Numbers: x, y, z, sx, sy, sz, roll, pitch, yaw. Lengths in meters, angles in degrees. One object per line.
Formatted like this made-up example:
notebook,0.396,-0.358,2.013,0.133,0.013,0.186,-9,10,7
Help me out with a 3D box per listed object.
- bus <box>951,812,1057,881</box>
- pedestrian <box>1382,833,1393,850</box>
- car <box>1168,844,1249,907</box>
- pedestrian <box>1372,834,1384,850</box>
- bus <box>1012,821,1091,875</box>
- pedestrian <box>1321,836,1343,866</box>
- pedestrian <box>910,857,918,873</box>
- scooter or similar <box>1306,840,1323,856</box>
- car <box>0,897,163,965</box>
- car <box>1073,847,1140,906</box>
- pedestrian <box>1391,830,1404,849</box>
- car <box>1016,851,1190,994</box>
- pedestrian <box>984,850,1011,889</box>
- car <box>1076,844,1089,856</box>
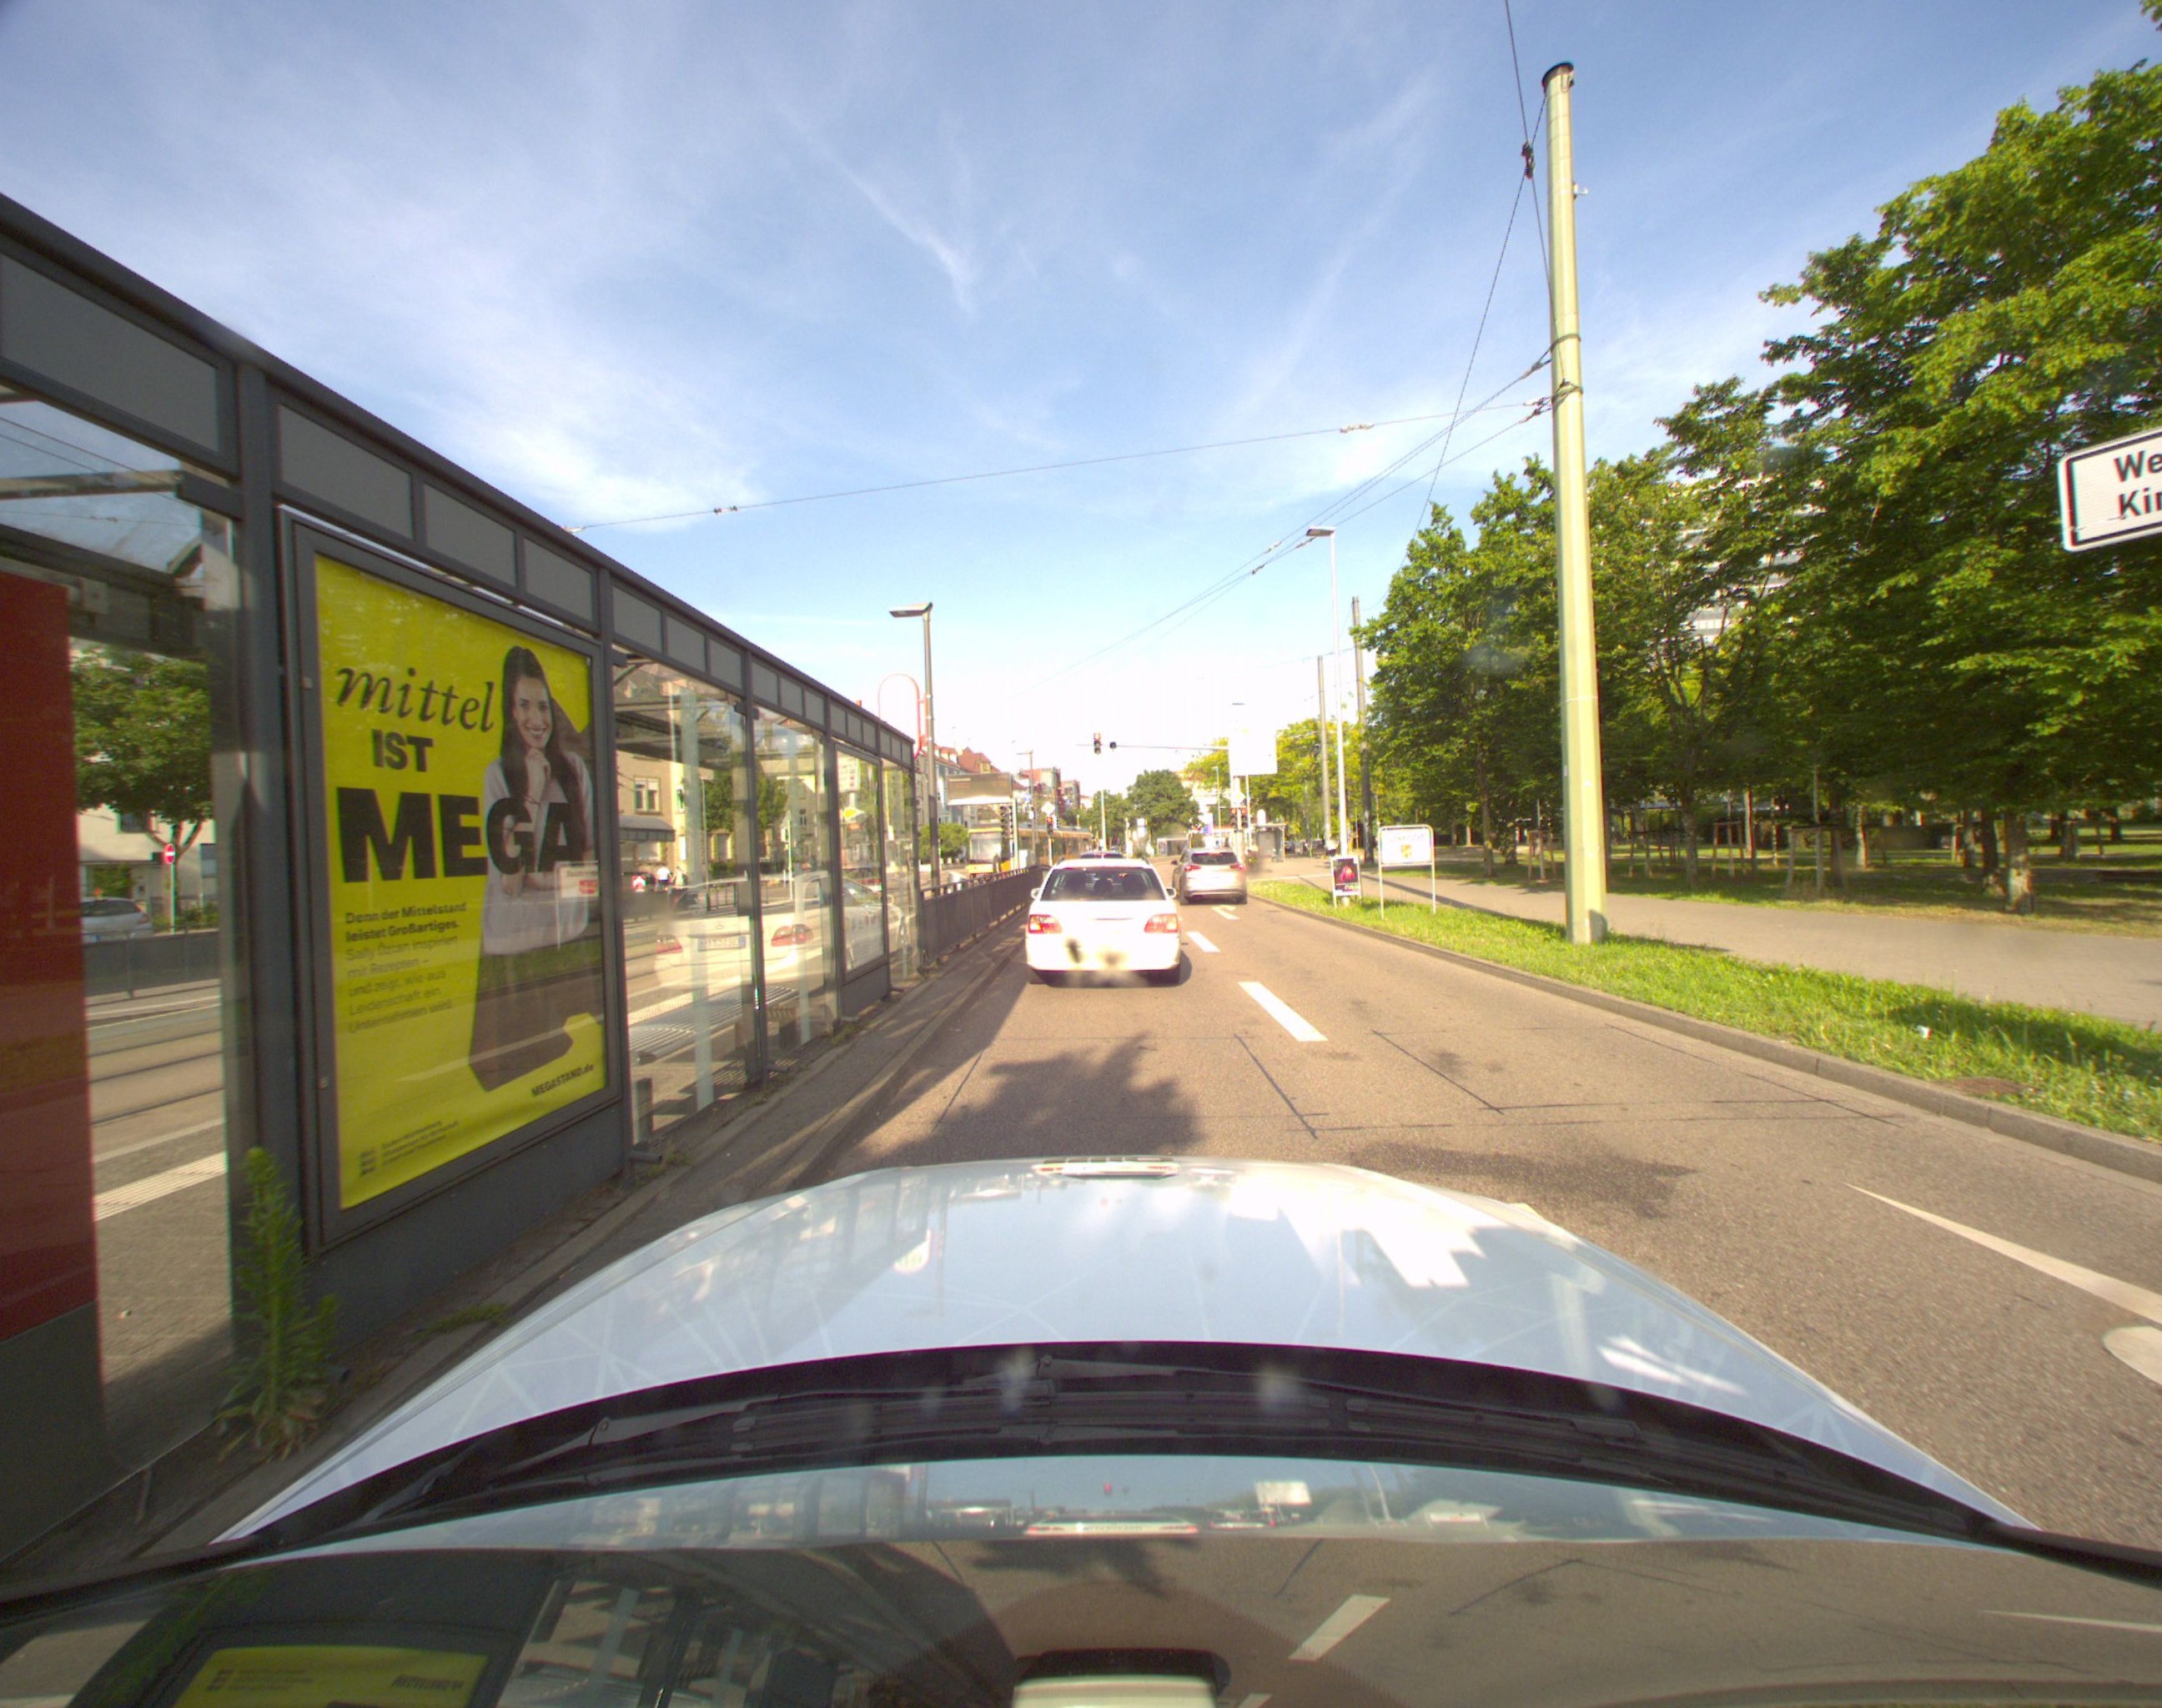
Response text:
bus,-4.266,-0.360,49.051,3.089,3.606,12.409,-1,-1,10
pedestrian,28.000,-1.171,74.453,0.805,1.487,0.705,-3,0,26
car,3.703,0.582,24.175,1.878,1.651,3.649,-3,0,2
pedestrian,27.485,-1.110,75.368,0.820,1.487,0.692,-3,0,-40
bus,-1.926,-0.356,61.398,3.088,3.606,12.629,-1,-1,11
pedestrian,14.184,-0.180,46.036,0.758,1.636,0.800,-2,0,-38
pedestrian,-16.732,1.108,81.659,0.626,1.541,0.711,-3,0,1
scooter or similar,16.444,-0.432,57.288,0.421,1.117,1.322,-2,0,-18
car,-26.059,1.976,21.041,3.952,1.486,1.858,-3,0,22
car,0.771,0.625,24.645,1.878,1.651,3.649,0,0,2
pedestrian,29.348,-1.340,75.582,0.797,1.785,0.838,-3,0,-3
car,0.286,0.714,10.336,1.789,1.470,3.649,-1,0,2
pedestrian,-3.666,0.668,35.734,0.798,1.645,0.748,-2,0,-42
car,0.303,-0.759,142.089,2.067,2.014,4.165,0,-1,2
